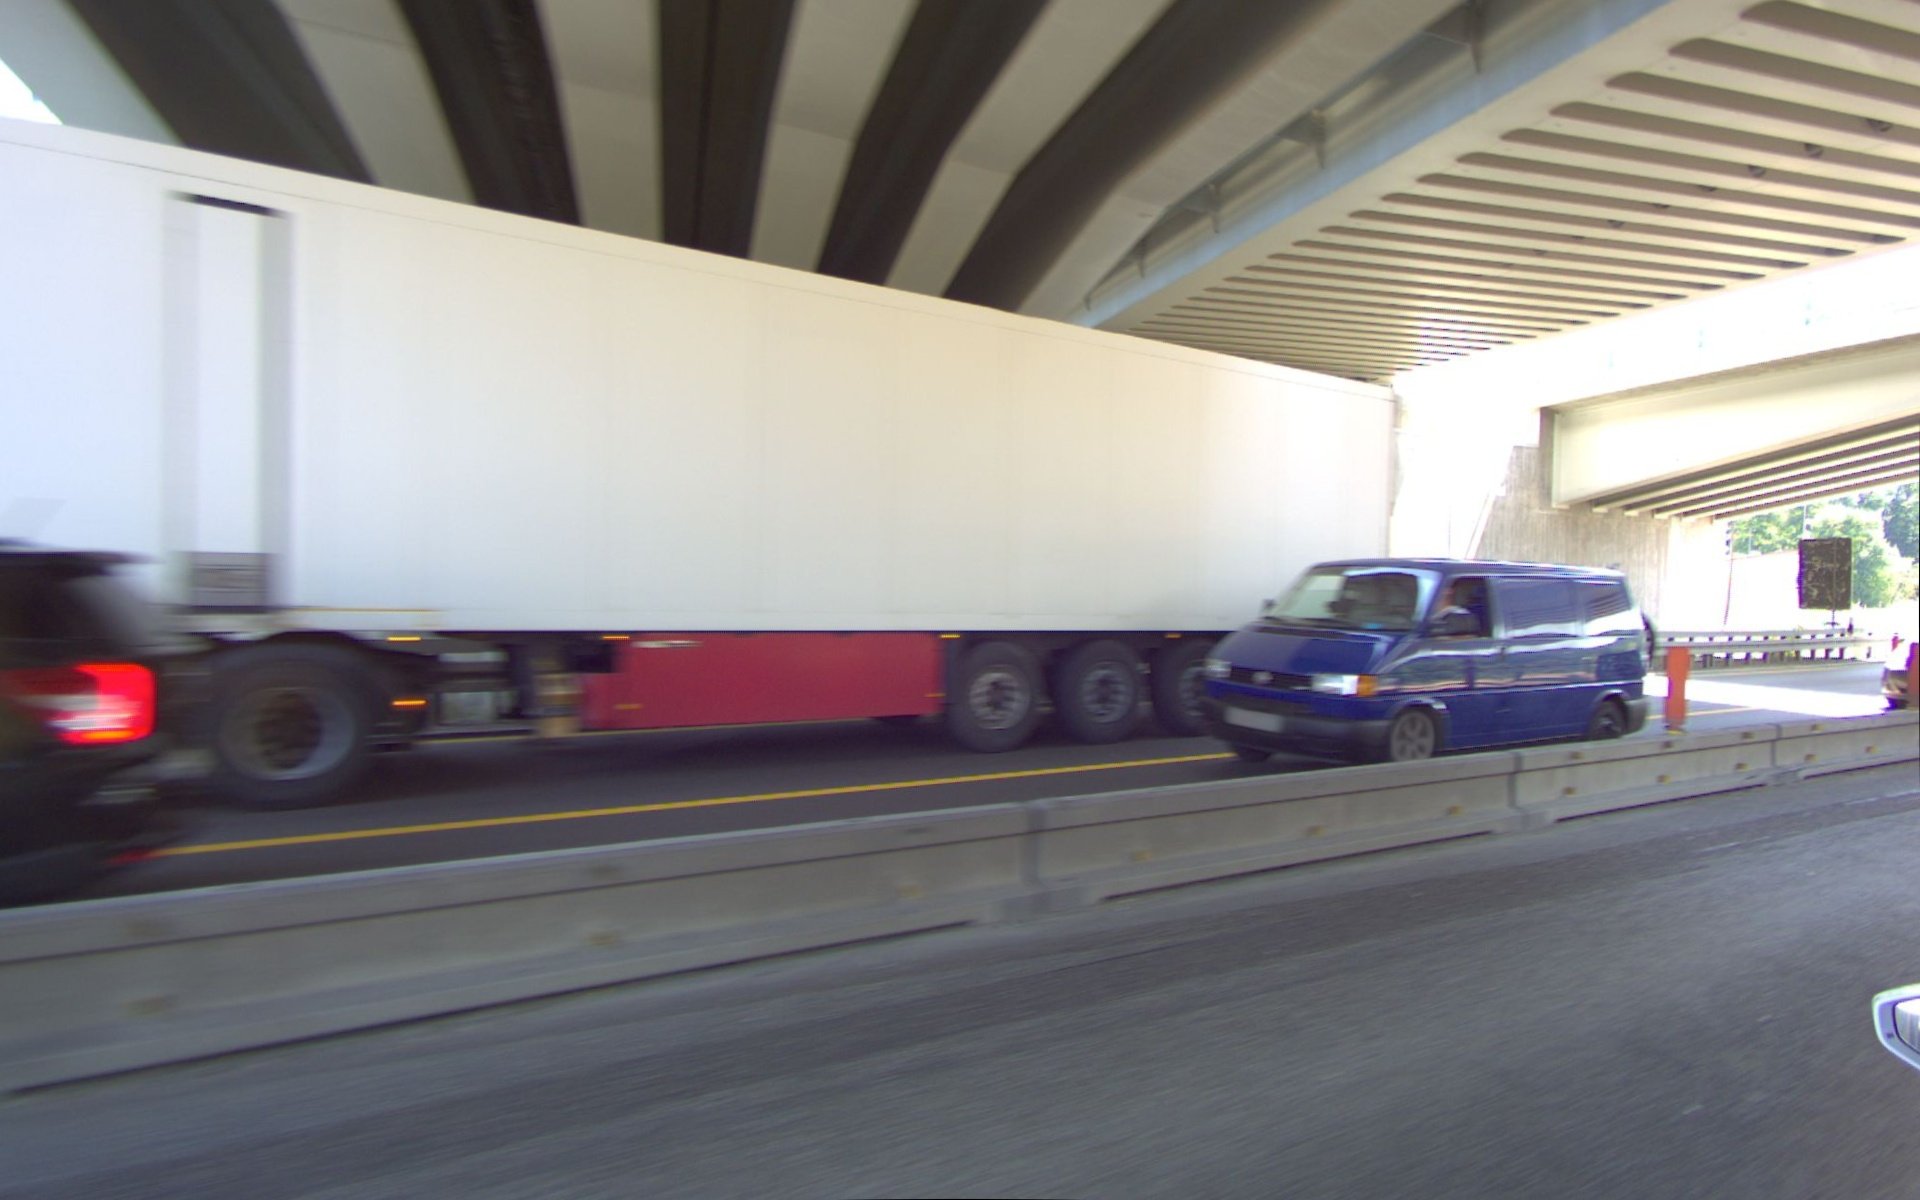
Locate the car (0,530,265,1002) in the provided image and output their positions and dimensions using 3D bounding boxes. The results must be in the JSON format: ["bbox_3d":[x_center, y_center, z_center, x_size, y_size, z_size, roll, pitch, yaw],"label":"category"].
[{"bbox_3d":[-5.128,0.530,3.354,4.471,1.631,1.713,1,2,-31],"label":"car"}]

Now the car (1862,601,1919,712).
[{"bbox_3d":[16.179,0.889,15.787,4.091,1.631,1.741,1,0,-29],"label":"car"}]

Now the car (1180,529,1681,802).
[{"bbox_3d":[4.479,0.503,9.286,4.913,1.958,1.790,1,0,-32],"label":"car"}]

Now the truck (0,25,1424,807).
[{"bbox_3d":[-0.852,-0.807,9.955,13.336,4.370,2.755,3,0,-31],"label":"truck"}]

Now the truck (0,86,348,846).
[{"bbox_3d":[-6.932,-0.797,6.212,5.125,4.226,2.647,2,0,-30],"label":"truck"}]
